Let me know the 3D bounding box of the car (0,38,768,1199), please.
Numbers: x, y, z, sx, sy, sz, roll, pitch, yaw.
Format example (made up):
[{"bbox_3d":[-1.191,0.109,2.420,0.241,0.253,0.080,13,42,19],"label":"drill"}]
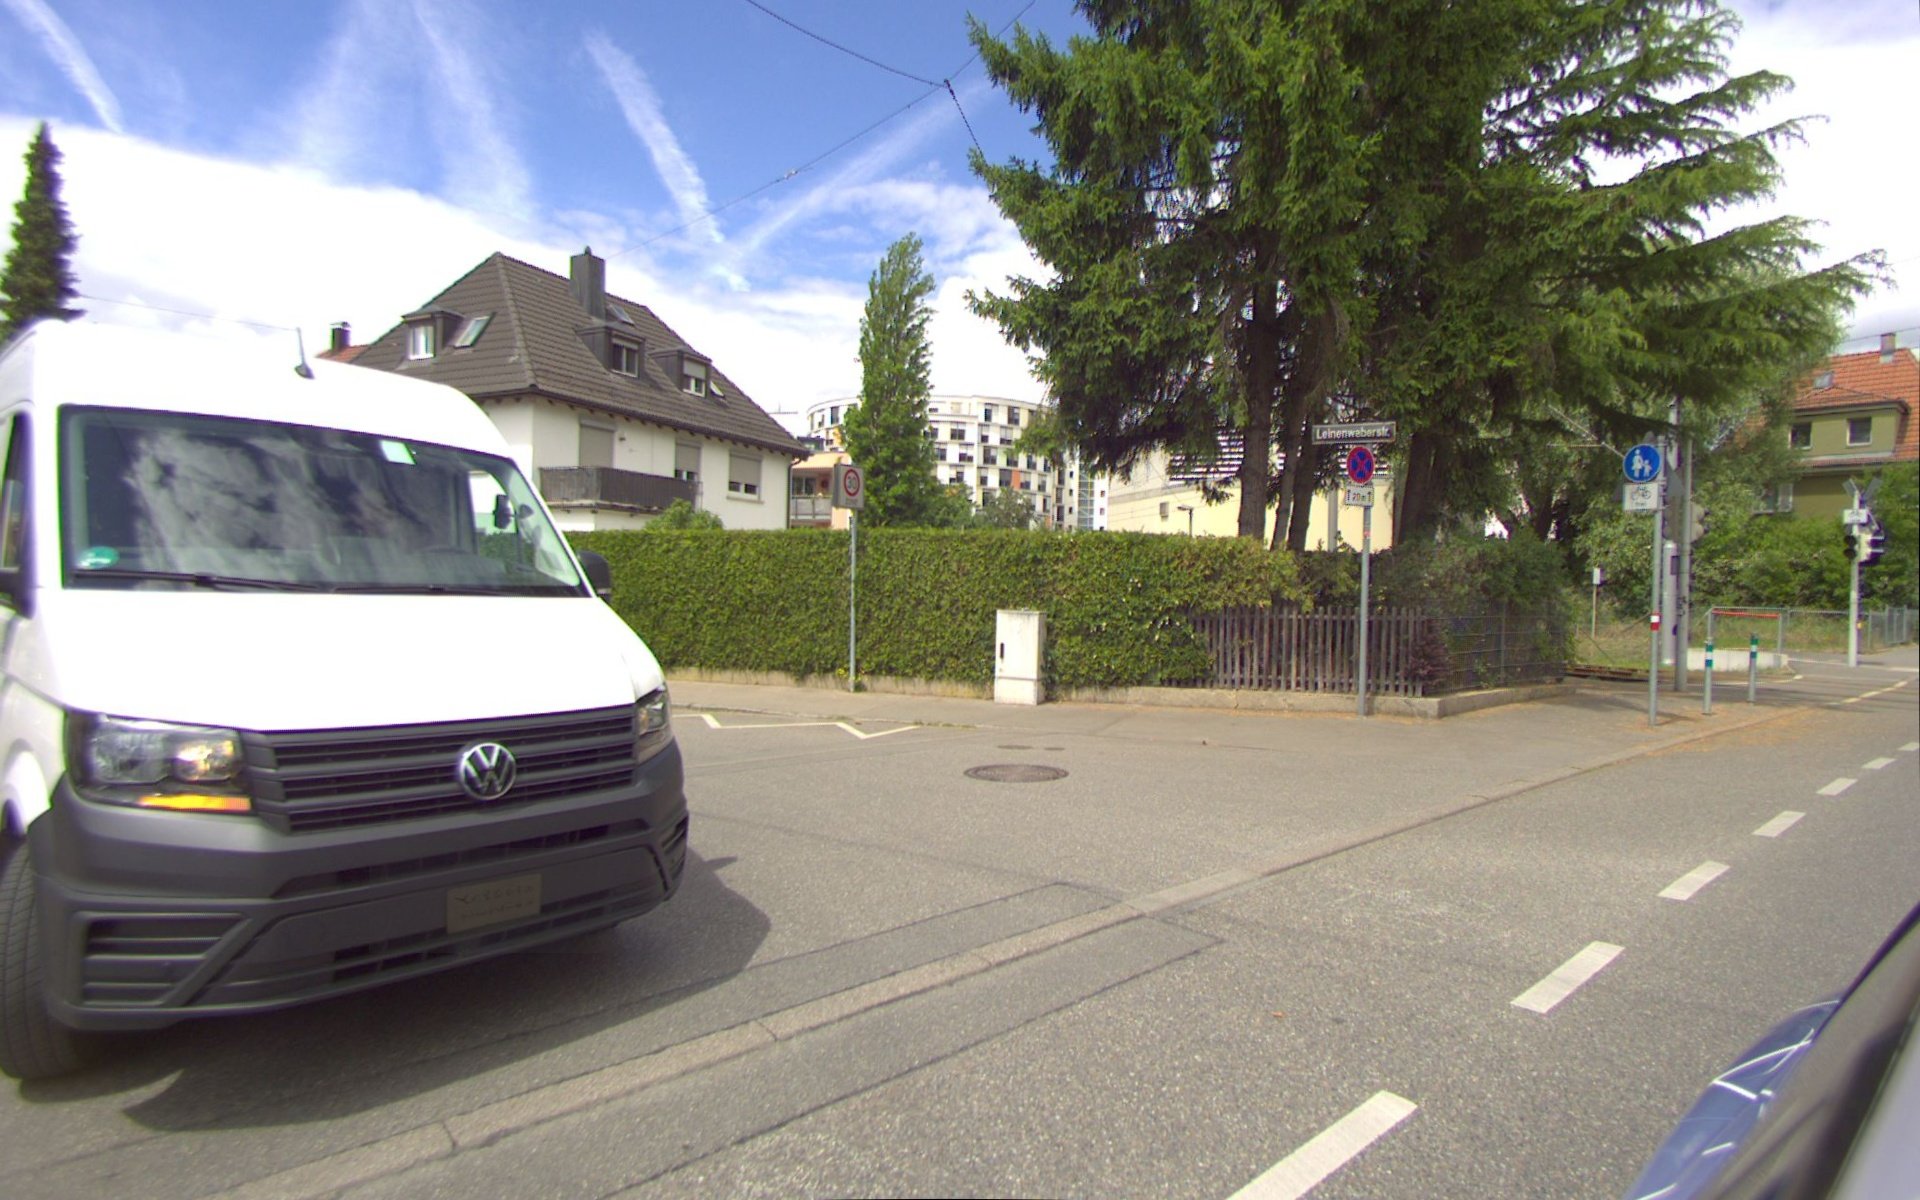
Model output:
[{"bbox_3d":[-3.613,0.017,4.951,5.990,2.614,1.970,1,0,41],"label":"car"}]
